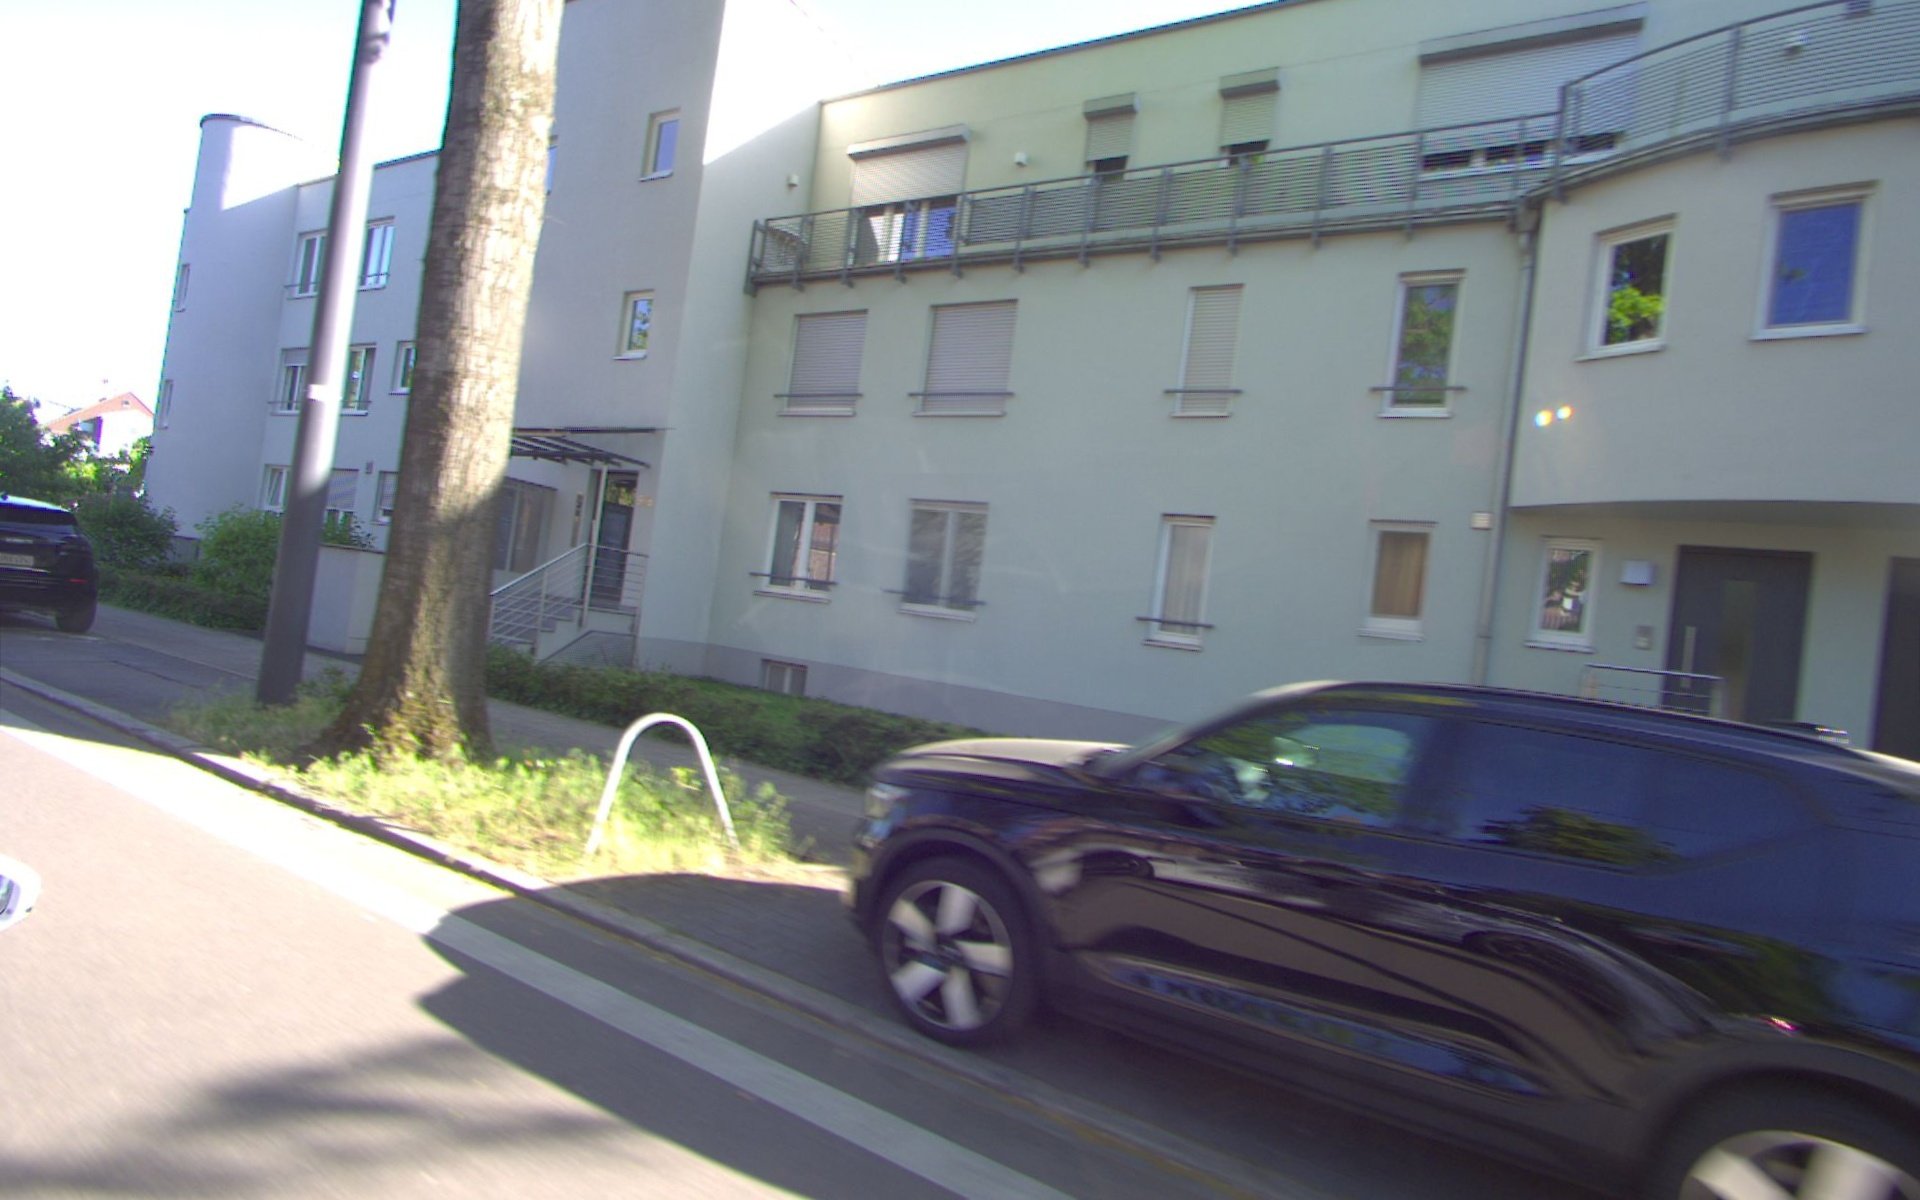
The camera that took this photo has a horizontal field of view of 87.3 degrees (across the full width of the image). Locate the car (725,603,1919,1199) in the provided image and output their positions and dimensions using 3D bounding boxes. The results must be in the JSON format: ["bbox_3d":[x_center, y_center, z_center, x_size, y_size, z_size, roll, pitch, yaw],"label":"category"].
[{"bbox_3d":[1.504,1.088,4.034,4.570,1.535,1.881,6,-3,30],"label":"car"}]

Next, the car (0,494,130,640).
[{"bbox_3d":[-12.998,-0.589,13.070,4.525,1.635,1.997,6,-2,32],"label":"car"}]
